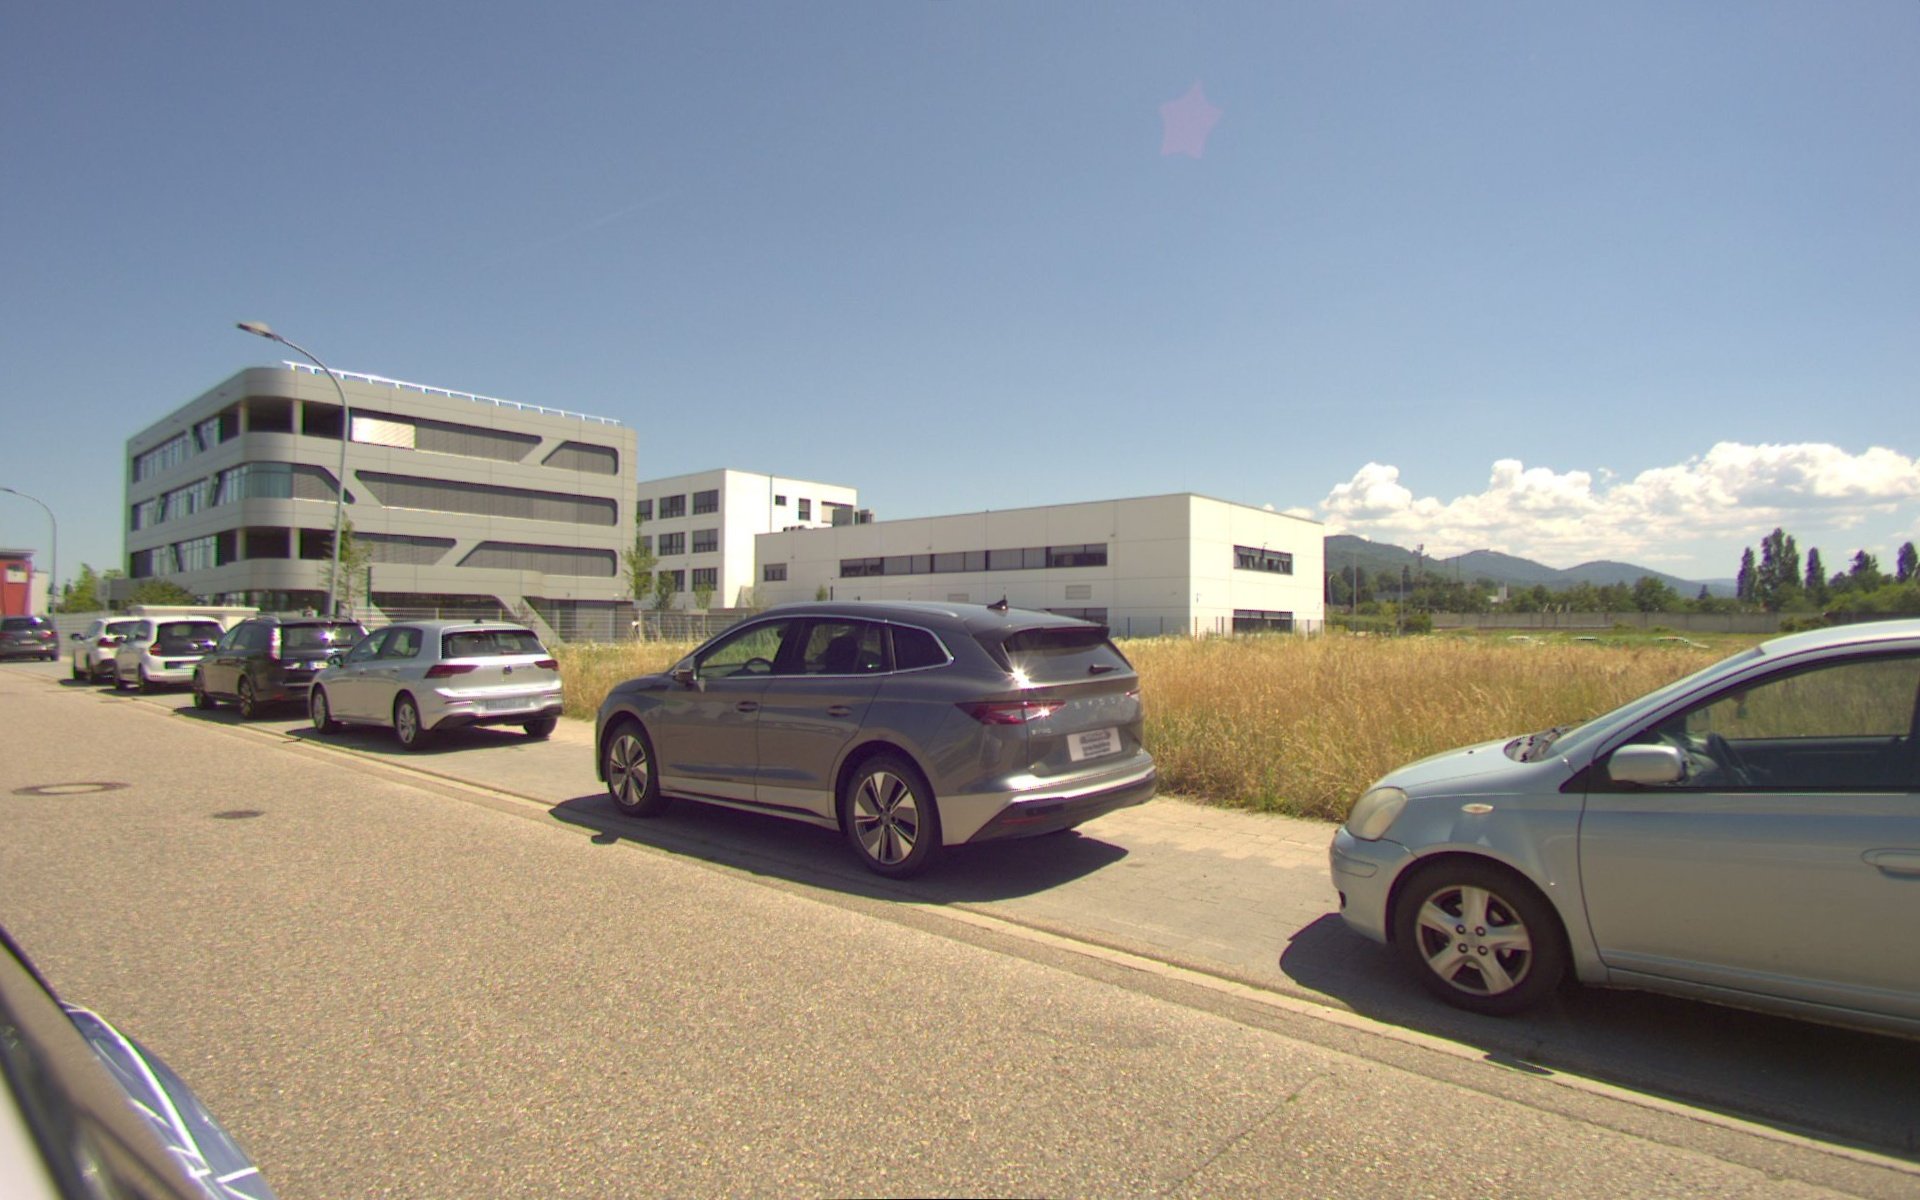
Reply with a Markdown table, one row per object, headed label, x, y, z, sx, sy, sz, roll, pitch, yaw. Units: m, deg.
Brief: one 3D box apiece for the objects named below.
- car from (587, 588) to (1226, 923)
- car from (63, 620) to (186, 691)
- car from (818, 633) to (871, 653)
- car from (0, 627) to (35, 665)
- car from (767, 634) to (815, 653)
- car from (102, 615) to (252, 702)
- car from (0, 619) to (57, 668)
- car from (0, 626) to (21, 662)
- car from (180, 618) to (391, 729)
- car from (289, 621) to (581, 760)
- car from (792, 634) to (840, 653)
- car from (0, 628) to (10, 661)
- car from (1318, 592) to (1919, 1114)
| label | x | y | z | sx | sy | sz | roll | pitch | yaw |
| --- | --- | --- | --- | --- | --- | --- | --- | --- | --- |
| car | -0.621 | 0.794 | 7.038 | 4.460 | 1.619 | 1.772 | -1 | -1 | 41 |
| car | -20.341 | 1.288 | 24.571 | 4.365 | 1.554 | 1.767 | -2 | -2 | 43 |
| car | -9.263 | 3.451 | 81.441 | 1.921 | 1.597 | 3.945 | -2 | -3 | 41 |
| car | -39.299 | 1.872 | 41.524 | 3.971 | 1.512 | 1.617 | -2 | -2 | 42 |
| car | -14.466 | 3.766 | 86.760 | 1.917 | 1.597 | 3.953 | -2 | -3 | 34 |
| car | -16.572 | 1.168 | 21.370 | 3.766 | 1.669 | 1.769 | -1 | -2 | 40 |
| car | -35.379 | 1.620 | 37.934 | 4.620 | 1.733 | 1.784 | -2 | -2 | 42 |
| car | -42.949 | 1.936 | 44.823 | 3.655 | 1.548 | 1.618 | -2 | -2 | 41 |
| car | -10.908 | 1.077 | 16.251 | 4.377 | 1.529 | 1.745 | -1 | -1 | 41 |
| car | -6.741 | 1.017 | 12.812 | 4.195 | 1.462 | 1.746 | -1 | -1 | 39 |
| car | -12.141 | 3.682 | 85.584 | 1.917 | 1.597 | 3.953 | -2 | -3 | 34 |
| car | -47.126 | 2.133 | 48.604 | 4.569 | 1.548 | 1.685 | -2 | -2 | 41 |
| car | 3.431 | 0.749 | 3.575 | 3.733 | 1.537 | 1.676 | -1 | -1 | 41 |
